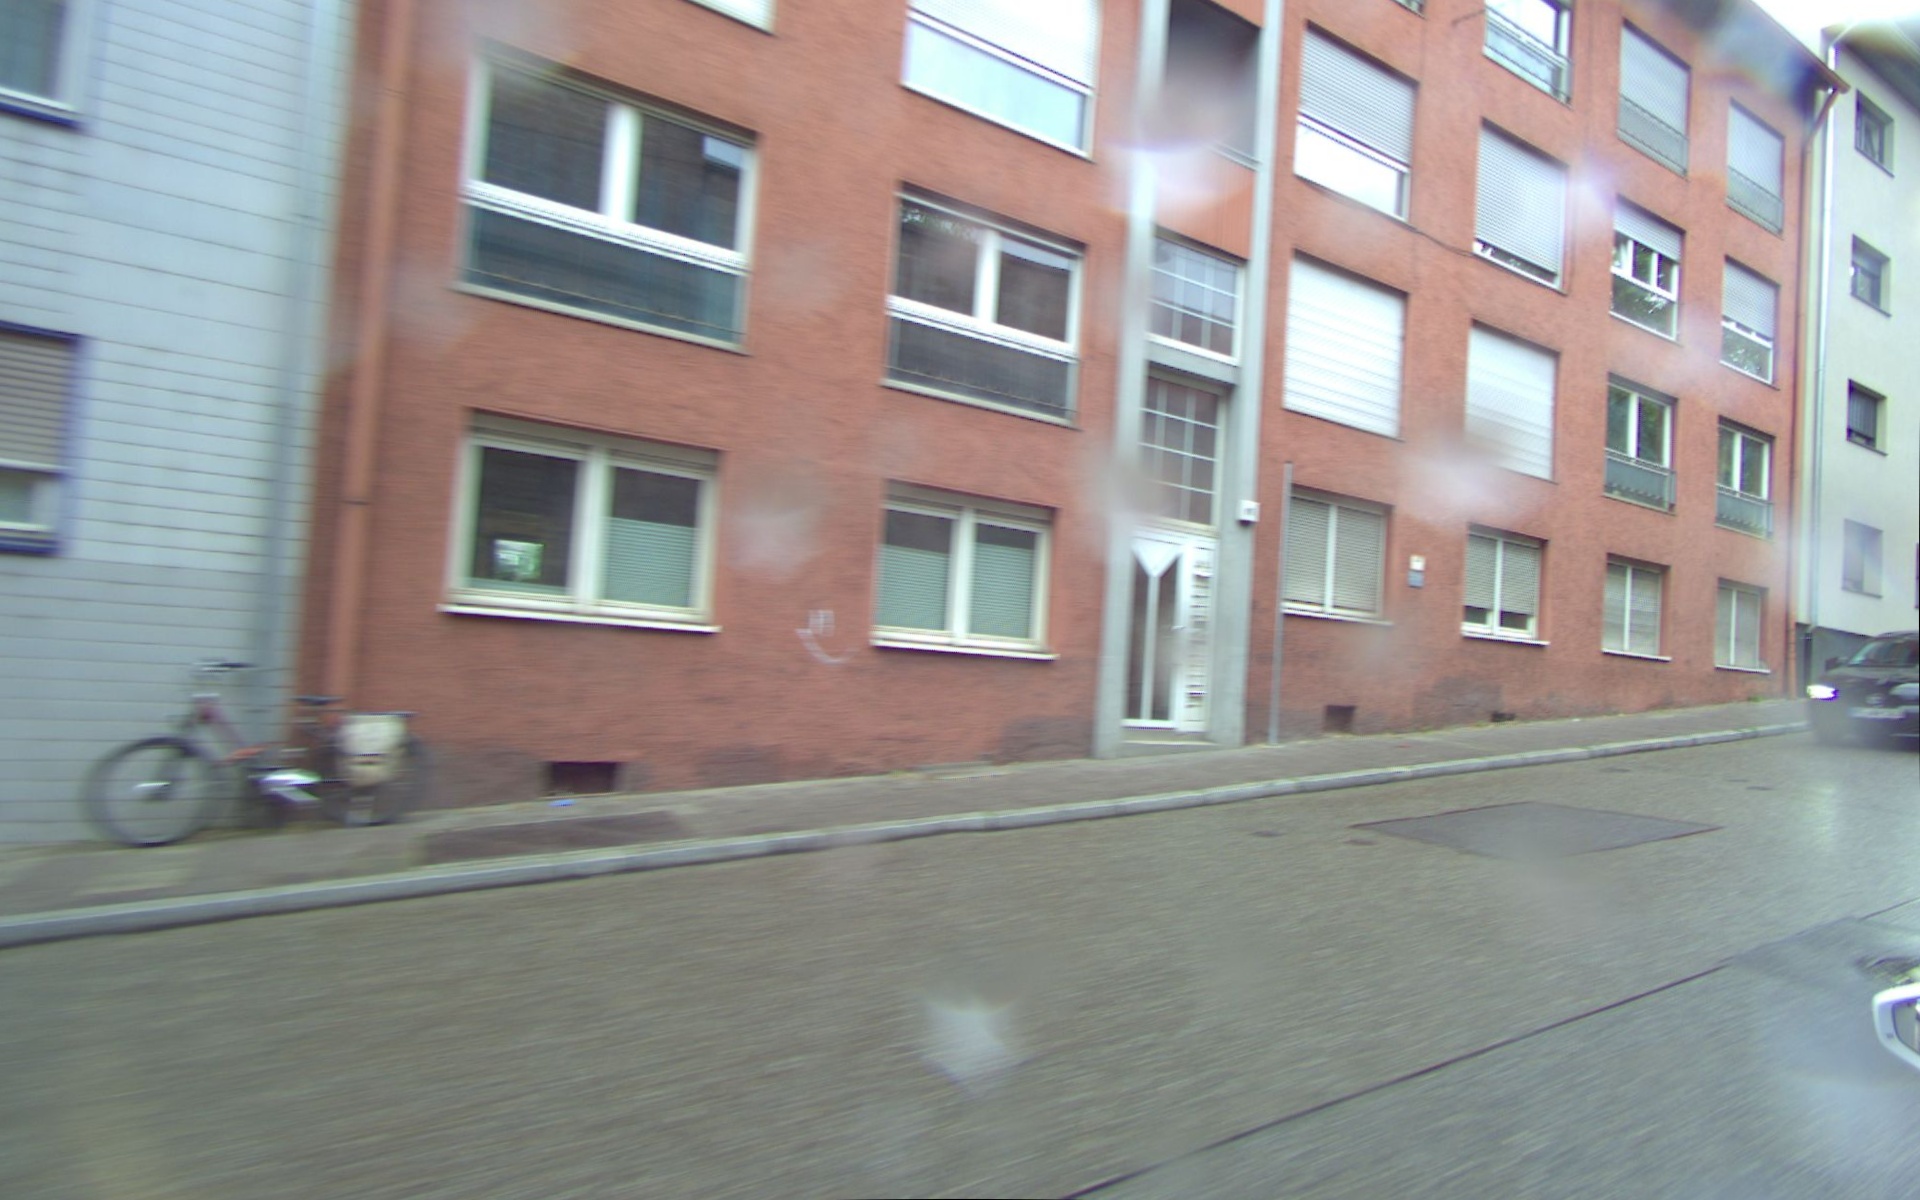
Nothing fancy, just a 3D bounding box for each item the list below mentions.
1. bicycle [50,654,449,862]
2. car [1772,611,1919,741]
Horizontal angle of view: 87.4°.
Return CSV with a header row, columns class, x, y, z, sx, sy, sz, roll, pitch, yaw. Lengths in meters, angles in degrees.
class,x,y,z,sx,sy,sz,roll,pitch,yaw
bicycle,-4.440,0.944,6.475,2.015,1.132,0.568,1,1,-30
car,12.611,0.951,12.988,3.953,1.497,1.985,1,-4,-30
